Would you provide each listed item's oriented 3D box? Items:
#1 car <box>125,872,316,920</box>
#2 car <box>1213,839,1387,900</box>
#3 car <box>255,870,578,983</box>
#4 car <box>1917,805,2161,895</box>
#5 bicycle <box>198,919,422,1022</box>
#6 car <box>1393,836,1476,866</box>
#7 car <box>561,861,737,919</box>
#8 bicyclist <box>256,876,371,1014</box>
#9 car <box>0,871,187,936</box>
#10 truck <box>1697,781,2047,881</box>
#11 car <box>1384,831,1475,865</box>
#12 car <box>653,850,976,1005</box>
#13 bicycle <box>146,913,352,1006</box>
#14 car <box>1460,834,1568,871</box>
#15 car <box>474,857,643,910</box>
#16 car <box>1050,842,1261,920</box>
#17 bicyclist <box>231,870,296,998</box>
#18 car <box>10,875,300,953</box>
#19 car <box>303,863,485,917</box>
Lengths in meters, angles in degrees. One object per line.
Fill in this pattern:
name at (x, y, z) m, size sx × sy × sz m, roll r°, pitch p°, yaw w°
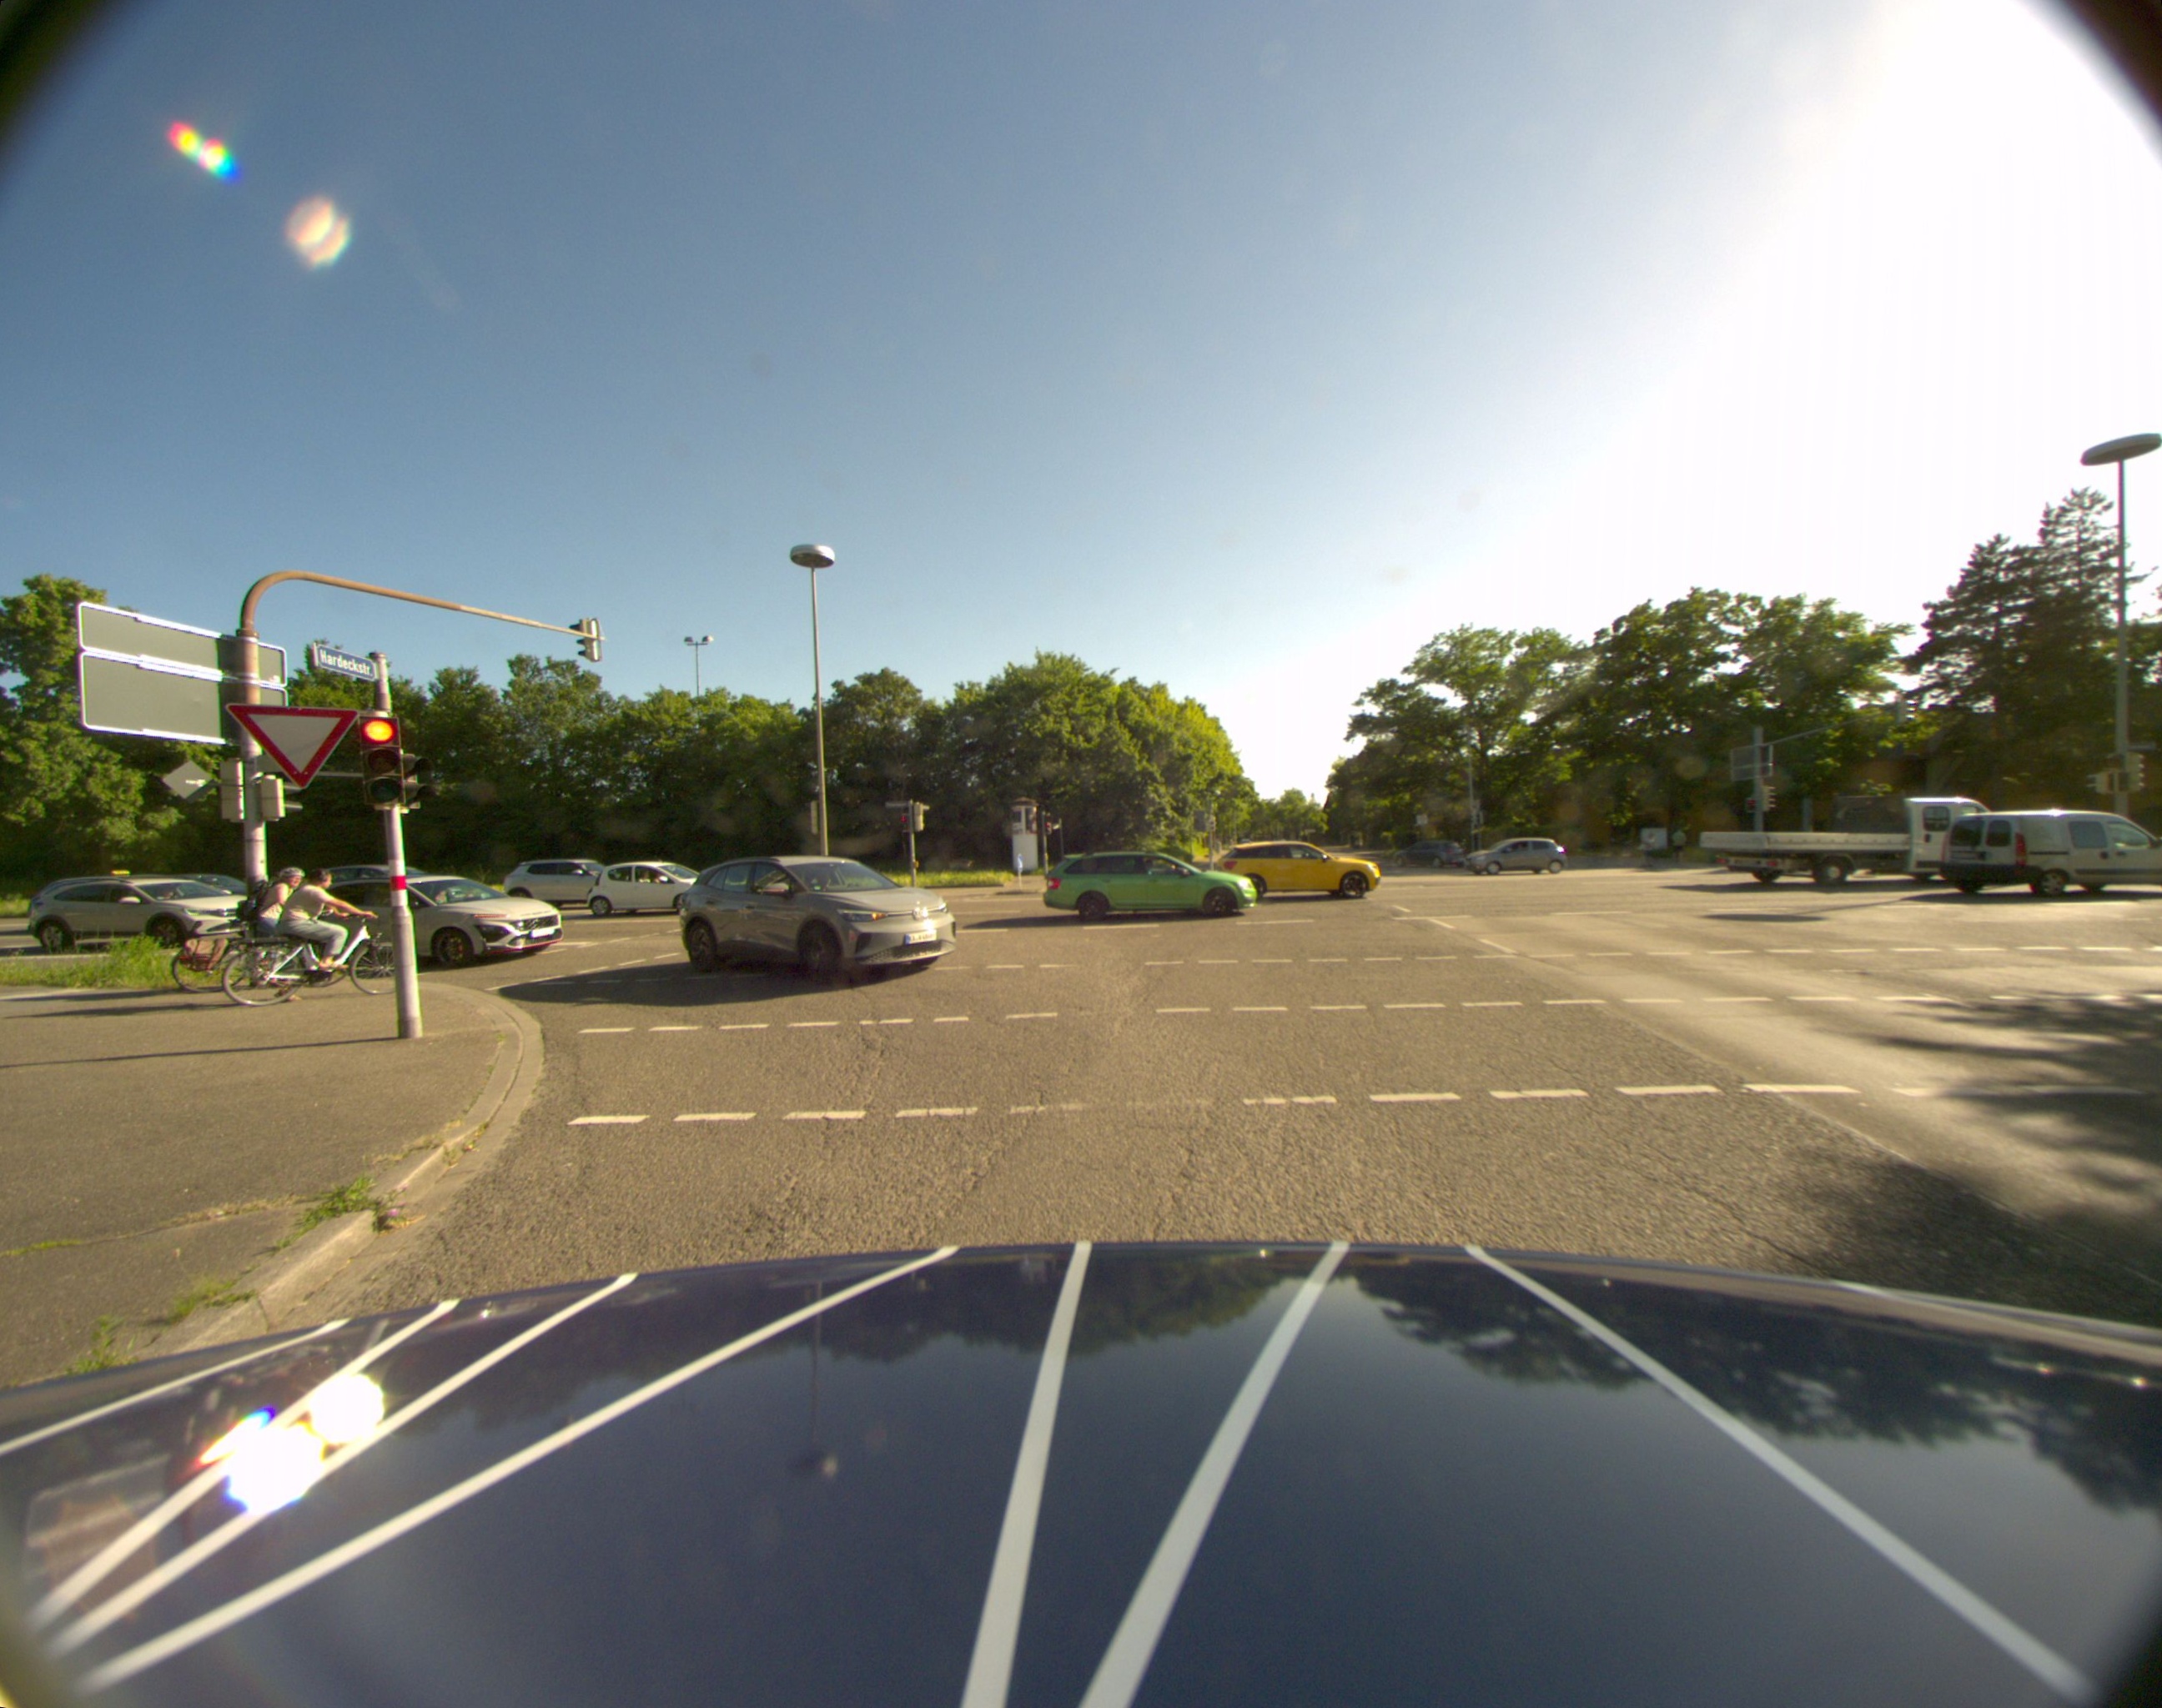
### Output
car at (-28.817, 1.393, 25.541) m, size 4.351 × 1.397 × 1.836 m, roll -1°, pitch 1°, yaw 2°
car at (5.679, 0.377, 20.038) m, size 4.117 × 1.432 × 1.692 m, roll -1°, pitch 2°, yaw 2°
car at (-11.525, 1.220, 13.375) m, size 4.117 × 1.564 × 1.692 m, roll -3°, pitch 3°, yaw 2°
car at (21.188, -0.132, 16.268) m, size 4.361 × 1.719 × 1.920 m, roll -1°, pitch 3°, yaw 1°
bicycle at (-9.589, 1.400, 9.558) m, size 0.529 × 1.070 × 1.874 m, roll 2°, pitch -1°, yaw 26°
car at (18.774, -0.224, 40.533) m, size 1.642 × 1.391 × 3.881 m, roll -3°, pitch 4°, yaw -25°
car at (-12.001, 0.980, 21.262) m, size 3.908 × 1.432 × 1.692 m, roll -1°, pitch 2°, yaw 2°
bicyclist at (-9.610, 1.102, 9.535) m, size 0.542 × 1.625 × 0.809 m, roll 2°, pitch -1°, yaw 25°
car at (-28.403, 1.376, 21.458) m, size 3.999 × 1.533 × 1.622 m, roll -2°, pitch 3°, yaw -5°
truck at (20.422, -0.570, 19.881) m, size 6.768 × 2.296 × 2.191 m, roll -1°, pitch 1°, yaw 1°
car at (18.494, -0.365, 40.489) m, size 1.811 × 1.644 × 4.093 m, roll -4°, pitch 4°, yaw -32°
car at (-3.803, 0.829, 10.654) m, size 4.352 × 1.631 × 1.997 m, roll 1°, pitch 4°, yaw 34°
bicycle at (-11.380, 1.397, 10.474) m, size 0.529 × 1.070 × 1.874 m, roll 2°, pitch 0°, yaw 42°
car at (17.991, -0.080, 31.670) m, size 3.594 × 1.424 × 1.553 m, roll -1°, pitch 2°, yaw 3°
car at (-16.801, 0.919, 24.575) m, size 4.191 × 1.529 × 1.837 m, roll -1°, pitch 1°, yaw 2°
car at (1.615, 0.555, 16.815) m, size 4.360 × 1.478 × 1.920 m, roll -1°, pitch 3°, yaw 4°
bicyclist at (-11.322, 1.078, 10.530) m, size 0.525 × 1.687 × 0.587 m, roll 2°, pitch 1°, yaw 42°
car at (-21.002, 1.331, 17.361) m, size 4.360 × 1.478 × 1.920 m, roll -1°, pitch 3°, yaw 4°
car at (-22.288, 1.140, 24.770) m, size 4.239 × 1.566 × 1.879 m, roll -1°, pitch 1°, yaw 2°
